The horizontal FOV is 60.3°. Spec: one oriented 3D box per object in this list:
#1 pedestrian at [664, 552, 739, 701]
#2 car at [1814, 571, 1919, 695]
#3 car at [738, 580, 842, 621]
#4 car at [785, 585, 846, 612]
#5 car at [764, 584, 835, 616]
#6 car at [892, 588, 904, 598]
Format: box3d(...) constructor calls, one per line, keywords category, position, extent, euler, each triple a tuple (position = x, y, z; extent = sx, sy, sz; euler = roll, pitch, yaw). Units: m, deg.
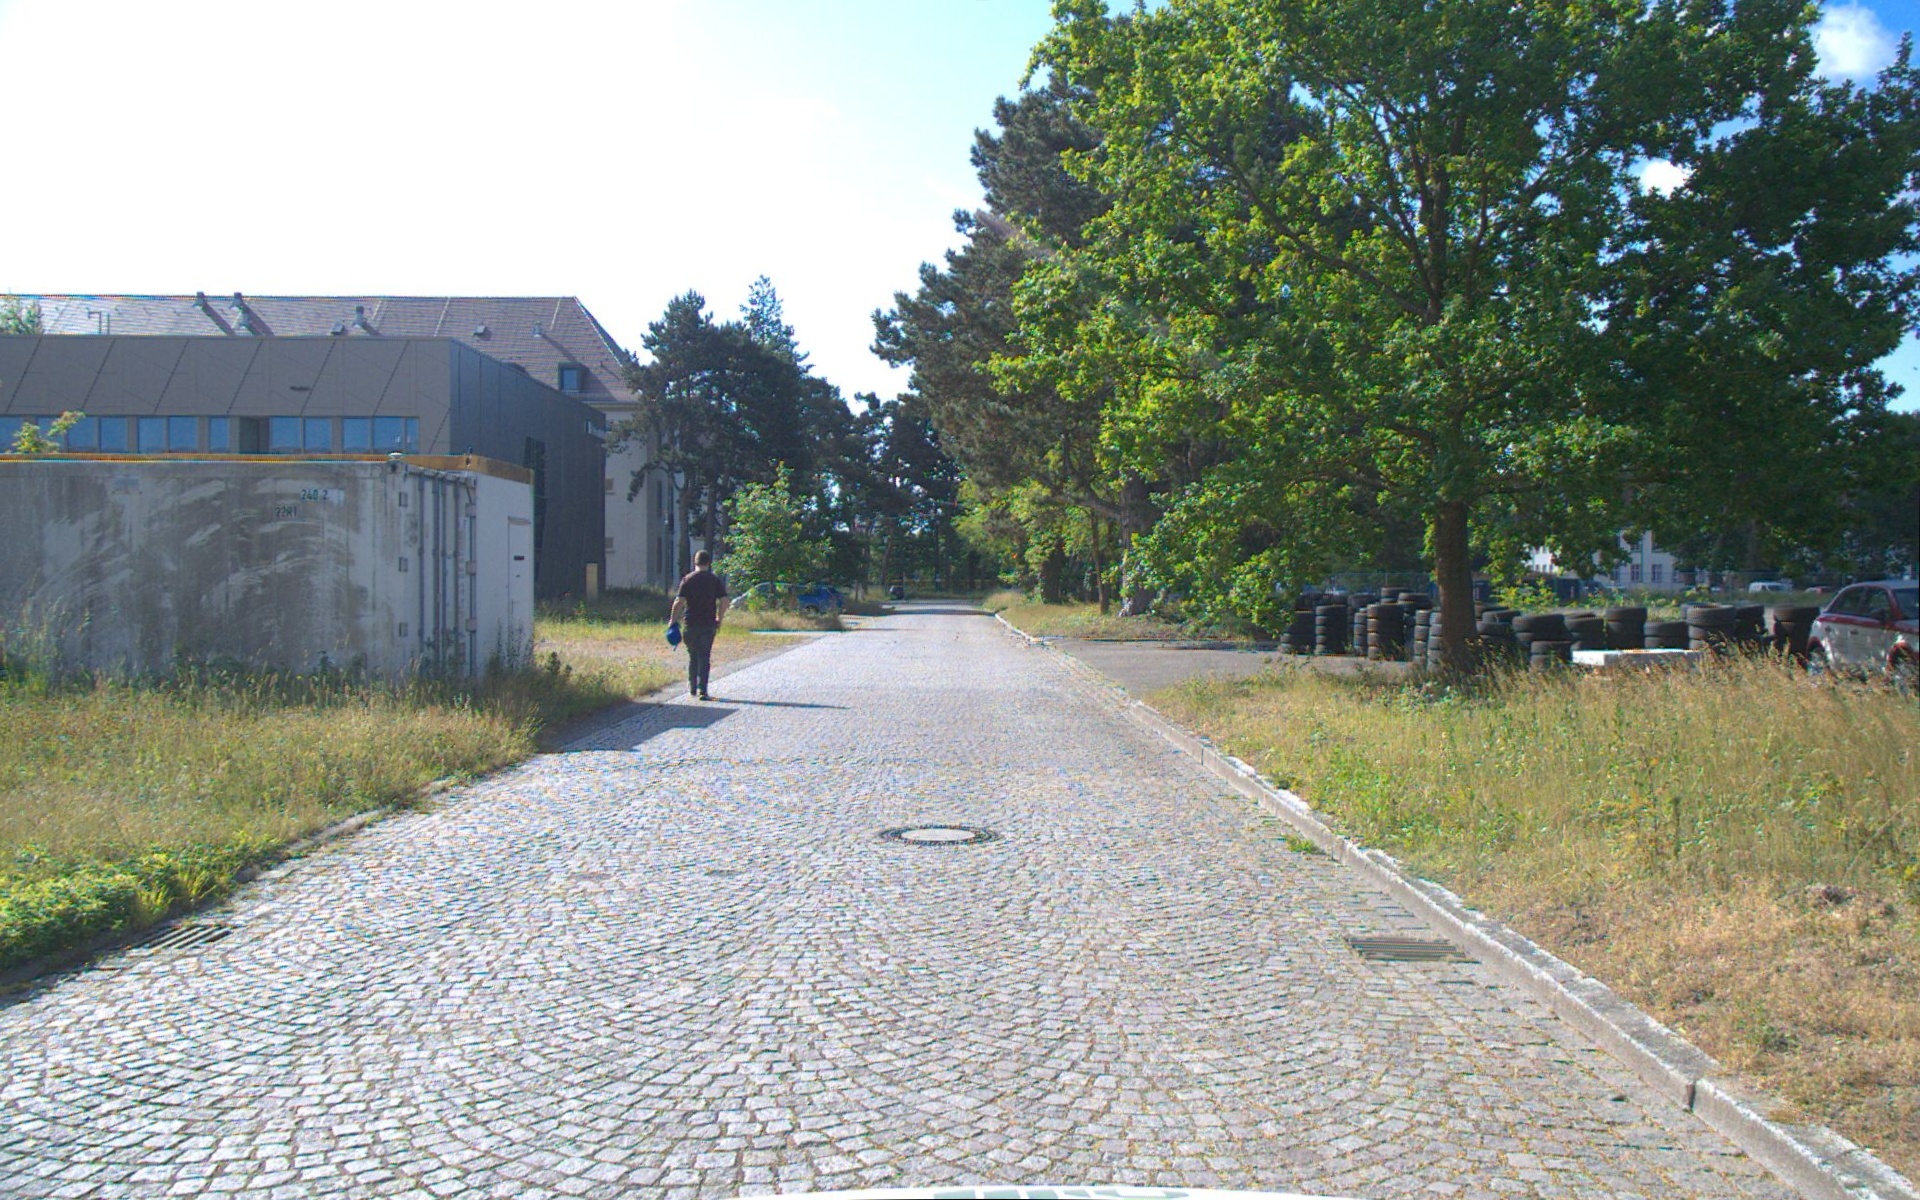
box3d(category="pedestrian", position=(-3.239, 0.322, 20.799), extent=(0.779, 1.812, 1.068), euler=(1, 0, -2))
box3d(category="car", position=(11.937, 0.370, 20.125), extent=(1.508, 1.431, 3.580), euler=(0, 0, 5))
box3d(category="car", position=(-6.294, 0.007, 61.631), extent=(3.756, 1.466, 1.582), euler=(0, 0, -3))
box3d(category="car", position=(-6.849, -0.090, 78.247), extent=(2.801, 1.227, 1.371), euler=(0, 1, -10))
box3d(category="car", position=(-6.691, -0.001, 68.876), extent=(2.849, 1.281, 1.285), euler=(0, 0, -10))
box3d(category="car", position=(-6.907, -0.793, 184.222), extent=(1.342, 1.118, 2.861), euler=(0, 0, -3))
